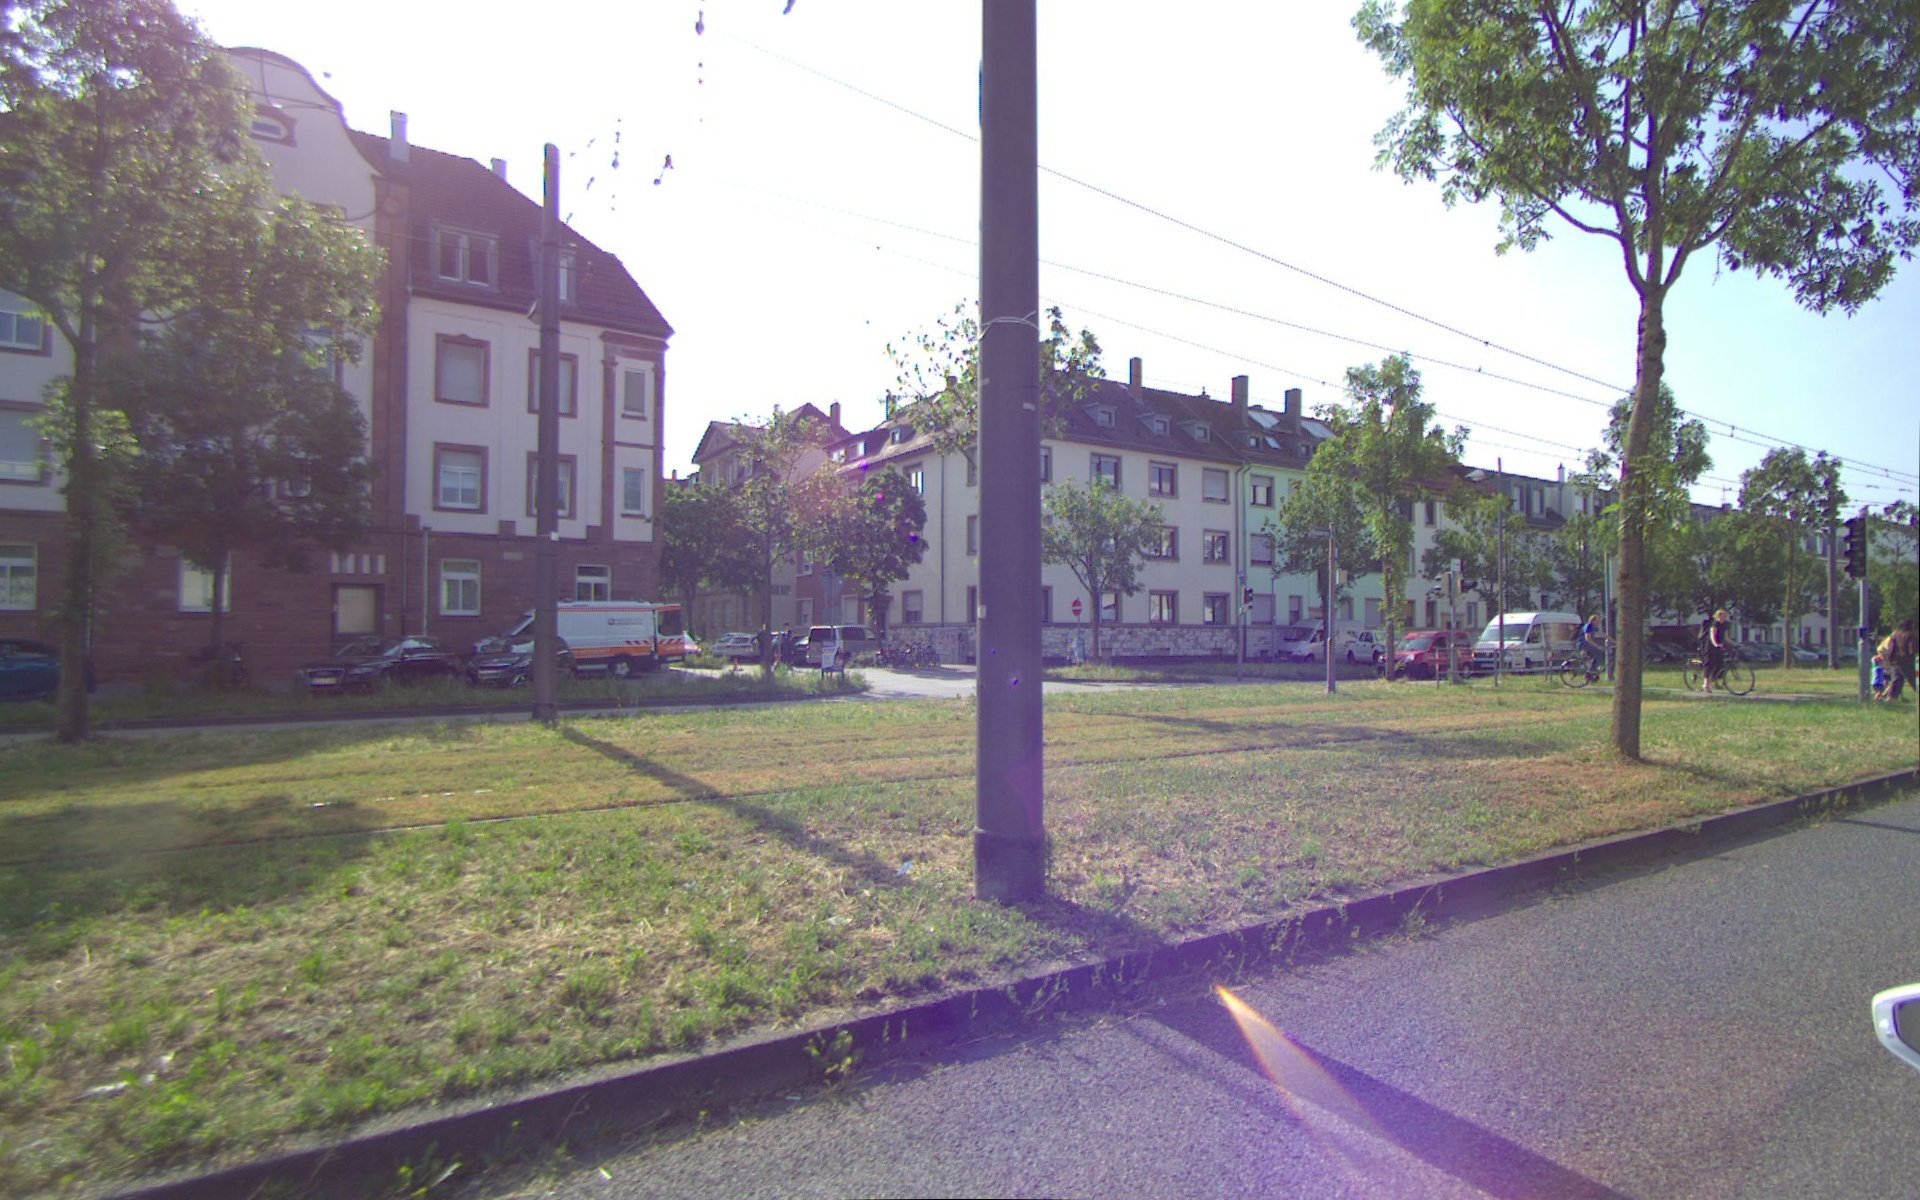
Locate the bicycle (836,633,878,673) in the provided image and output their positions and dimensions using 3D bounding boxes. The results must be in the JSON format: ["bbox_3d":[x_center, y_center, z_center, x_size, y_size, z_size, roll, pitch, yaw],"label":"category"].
[{"bbox_3d":[-4.185,2.118,41.092,0.912,1.481,3.222,1,0,9],"label":"bicycle"}]

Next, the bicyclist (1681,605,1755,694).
[{"bbox_3d":[17.295,1.111,22.928,0.677,1.960,1.143,2,0,-27],"label":"bicyclist"}]

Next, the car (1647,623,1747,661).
[{"bbox_3d":[44.882,2.524,61.331,1.842,2.040,5.229,2,0,-7],"label":"car"}]

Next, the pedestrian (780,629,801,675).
[{"bbox_3d":[-6.462,1.972,38.272,0.611,1.688,0.579,2,0,-29],"label":"pedestrian"}]

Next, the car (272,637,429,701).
[{"bbox_3d":[-13.246,1.464,22.033,1.467,1.176,3.165,2,0,0],"label":"car"}]

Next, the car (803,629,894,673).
[{"bbox_3d":[-5.046,2.284,46.039,1.980,1.790,4.324,1,0,29],"label":"car"}]

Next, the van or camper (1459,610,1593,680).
[{"bbox_3d":[22.707,1.780,40.187,5.967,2.565,2.190,2,0,-34],"label":"van or camper"}]

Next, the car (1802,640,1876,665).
[{"bbox_3d":[63.722,3.785,72.911,1.624,1.617,3.996,2,0,-7],"label":"car"}]

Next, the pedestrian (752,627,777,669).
[{"bbox_3d":[-7.369,1.796,37.853,0.717,1.543,0.634,2,0,-29],"label":"pedestrian"}]

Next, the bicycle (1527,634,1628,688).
[{"bbox_3d":[15.916,1.583,25.939,0.778,1.341,2.047,2,-4,-44],"label":"bicycle"}]

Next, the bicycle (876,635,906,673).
[{"bbox_3d":[-2.801,2.167,41.086,0.961,1.378,3.059,2,0,0],"label":"bicycle"}]

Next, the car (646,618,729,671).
[{"bbox_3d":[-11.359,1.798,41.667,1.995,1.965,4.629,2,0,-33],"label":"car"}]

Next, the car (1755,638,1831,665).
[{"bbox_3d":[55.228,3.379,66.674,1.436,1.550,3.996,2,0,-7],"label":"car"}]

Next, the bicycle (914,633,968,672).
[{"bbox_3d":[-0.817,2.151,41.817,1.090,1.481,2.661,2,0,-29],"label":"bicycle"}]

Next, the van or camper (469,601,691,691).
[{"bbox_3d":[-11.967,1.416,31.879,6.290,2.601,2.026,2,0,-34],"label":"van or camper"}]

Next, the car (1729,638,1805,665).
[{"bbox_3d":[52.543,3.321,65.453,1.436,1.550,3.996,2,0,-7],"label":"car"}]

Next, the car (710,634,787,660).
[{"bbox_3d":[-12.228,2.728,58.172,3.992,1.389,1.693,2,0,-40],"label":"car"}]

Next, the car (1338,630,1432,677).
[{"bbox_3d":[18.518,2.270,44.084,1.960,1.761,5.328,2,0,1],"label":"car"}]

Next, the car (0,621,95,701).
[{"bbox_3d":[-18.630,1.150,18.679,1.546,1.436,4.000,2,0,1],"label":"car"}]

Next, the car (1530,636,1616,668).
[{"bbox_3d":[31.414,2.623,51.598,1.687,1.431,3.996,2,0,-7],"label":"car"}]

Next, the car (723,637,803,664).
[{"bbox_3d":[-10.815,2.767,55.241,3.992,1.389,1.693,2,0,-40],"label":"car"}]

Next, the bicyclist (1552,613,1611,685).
[{"bbox_3d":[16.001,1.247,25.860,1.135,1.785,0.682,1,0,45],"label":"bicyclist"}]

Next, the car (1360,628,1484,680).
[{"bbox_3d":[16.821,1.938,36.542,4.245,1.716,1.956,2,0,-29],"label":"car"}]

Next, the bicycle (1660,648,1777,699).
[{"bbox_3d":[17.277,1.649,22.941,0.659,1.056,2.060,2,-2,-25],"label":"bicycle"}]

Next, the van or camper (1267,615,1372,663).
[{"bbox_3d":[18.932,2.061,52.796,5.761,2.359,1.983,2,0,-31],"label":"van or camper"}]

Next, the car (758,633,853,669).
[{"bbox_3d":[-7.839,2.564,51.076,4.355,1.704,1.977,2,0,-40],"label":"car"}]

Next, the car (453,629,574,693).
[{"bbox_3d":[-10.811,1.438,24.543,1.467,1.344,3.165,2,0,1],"label":"car"}]

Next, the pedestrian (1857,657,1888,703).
[{"bbox_3d":[18.171,1.586,20.003,0.456,0.887,0.339,2,0,-32],"label":"pedestrian"}]

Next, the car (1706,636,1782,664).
[{"bbox_3d":[49.975,3.180,64.119,1.436,1.550,3.996,2,0,-7],"label":"car"}]

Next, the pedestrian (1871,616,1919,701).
[{"bbox_3d":[18.152,1.126,19.408,0.703,1.592,0.621,2,0,-32],"label":"pedestrian"}]

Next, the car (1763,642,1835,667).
[{"bbox_3d":[58.828,3.793,70.488,1.436,1.550,3.996,2,0,-7],"label":"car"}]
